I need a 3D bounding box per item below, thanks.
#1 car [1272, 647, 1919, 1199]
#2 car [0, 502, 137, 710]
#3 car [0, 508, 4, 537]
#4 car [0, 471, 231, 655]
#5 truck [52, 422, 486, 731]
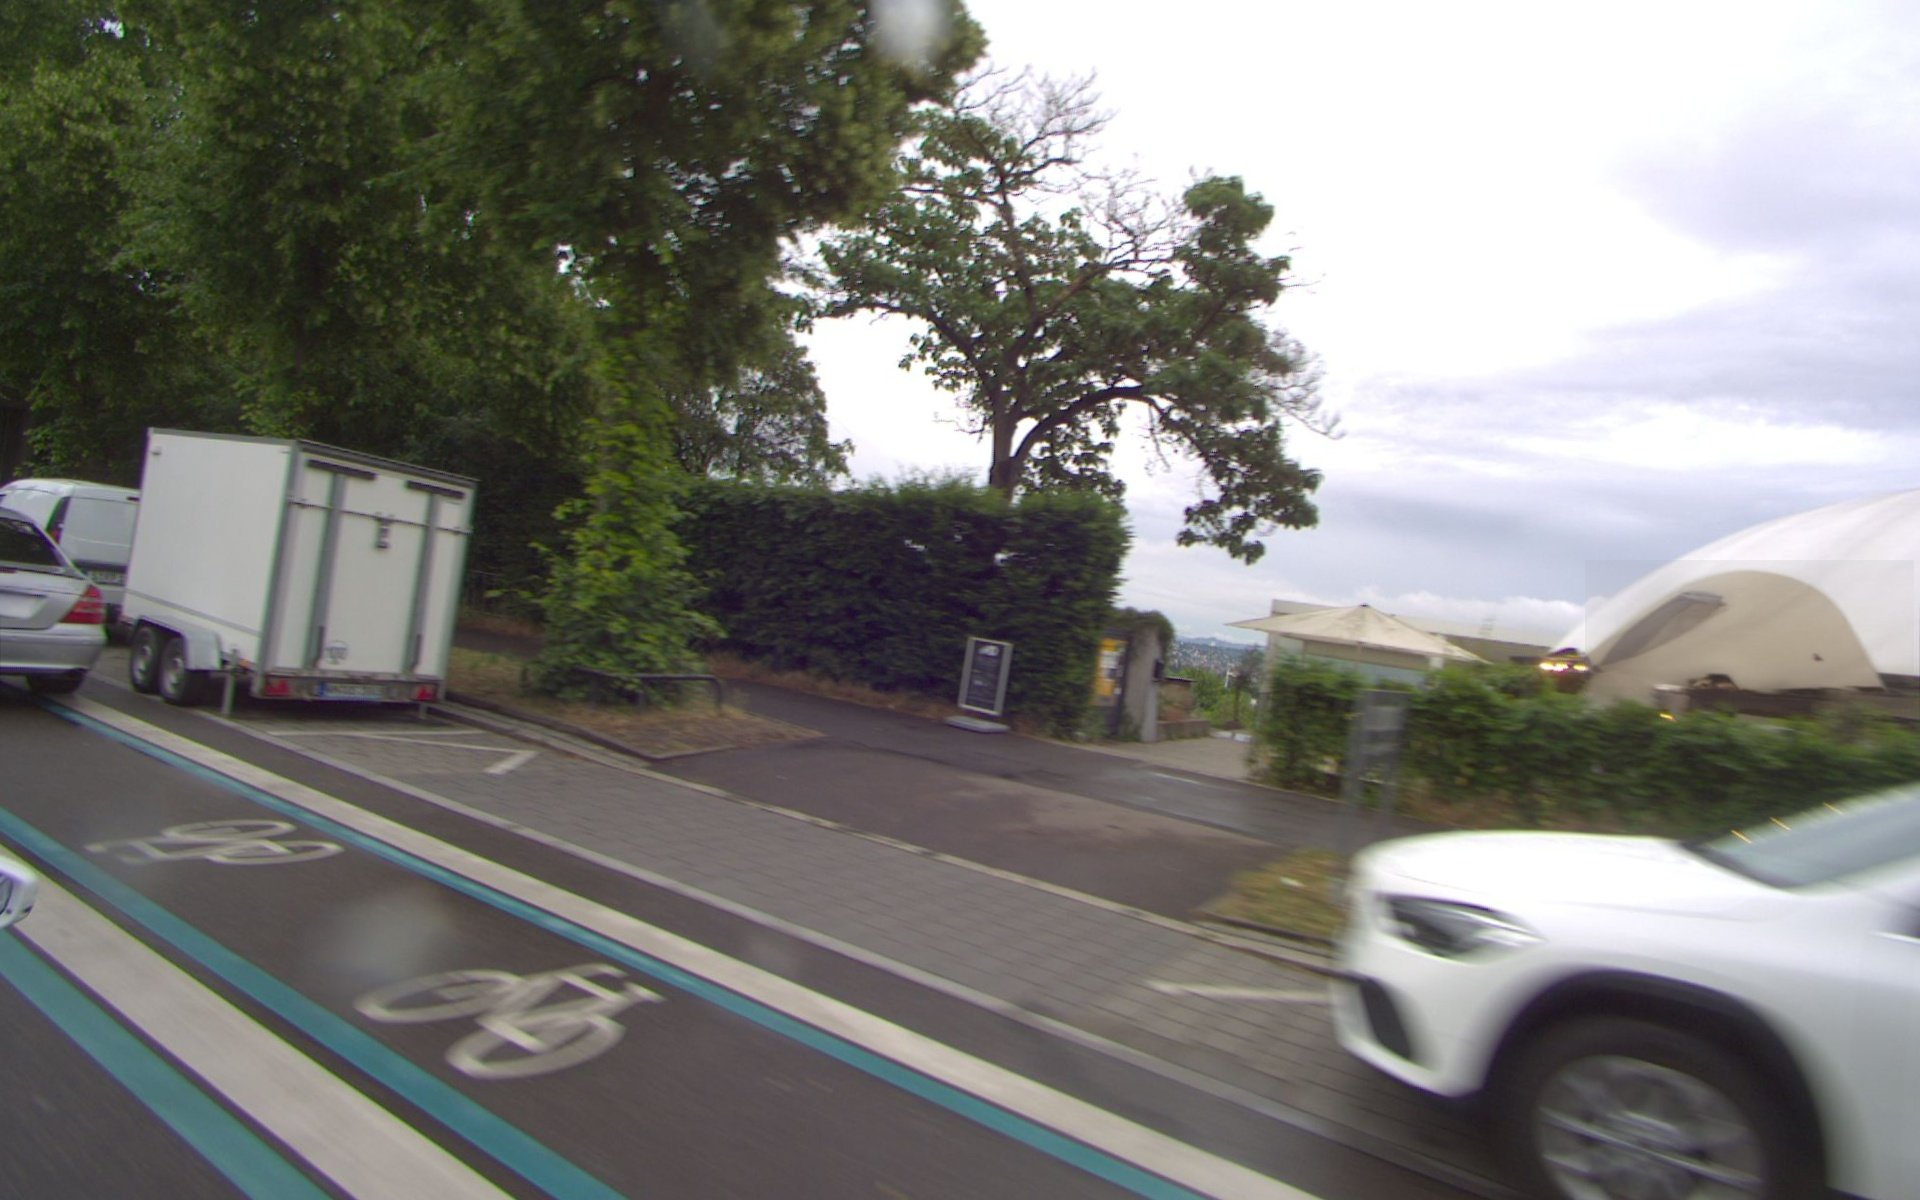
[{"bbox_3d":[3.403,1.272,3.060,4.335,1.603,1.761,7,-2,26],"label":"car"},{"bbox_3d":[-8.632,-0.203,8.011,4.514,1.414,1.725,7,-2,32],"label":"car"},{"bbox_3d":[-17.160,-1.005,16.033,4.542,1.443,1.663,7,-2,33],"label":"car"},{"bbox_3d":[-11.138,-0.548,12.510,4.273,1.811,1.725,7,-2,32],"label":"car"},{"bbox_3d":[-6.579,-0.274,9.490,3.934,2.360,1.722,7,-1,32],"label":"truck"}]
